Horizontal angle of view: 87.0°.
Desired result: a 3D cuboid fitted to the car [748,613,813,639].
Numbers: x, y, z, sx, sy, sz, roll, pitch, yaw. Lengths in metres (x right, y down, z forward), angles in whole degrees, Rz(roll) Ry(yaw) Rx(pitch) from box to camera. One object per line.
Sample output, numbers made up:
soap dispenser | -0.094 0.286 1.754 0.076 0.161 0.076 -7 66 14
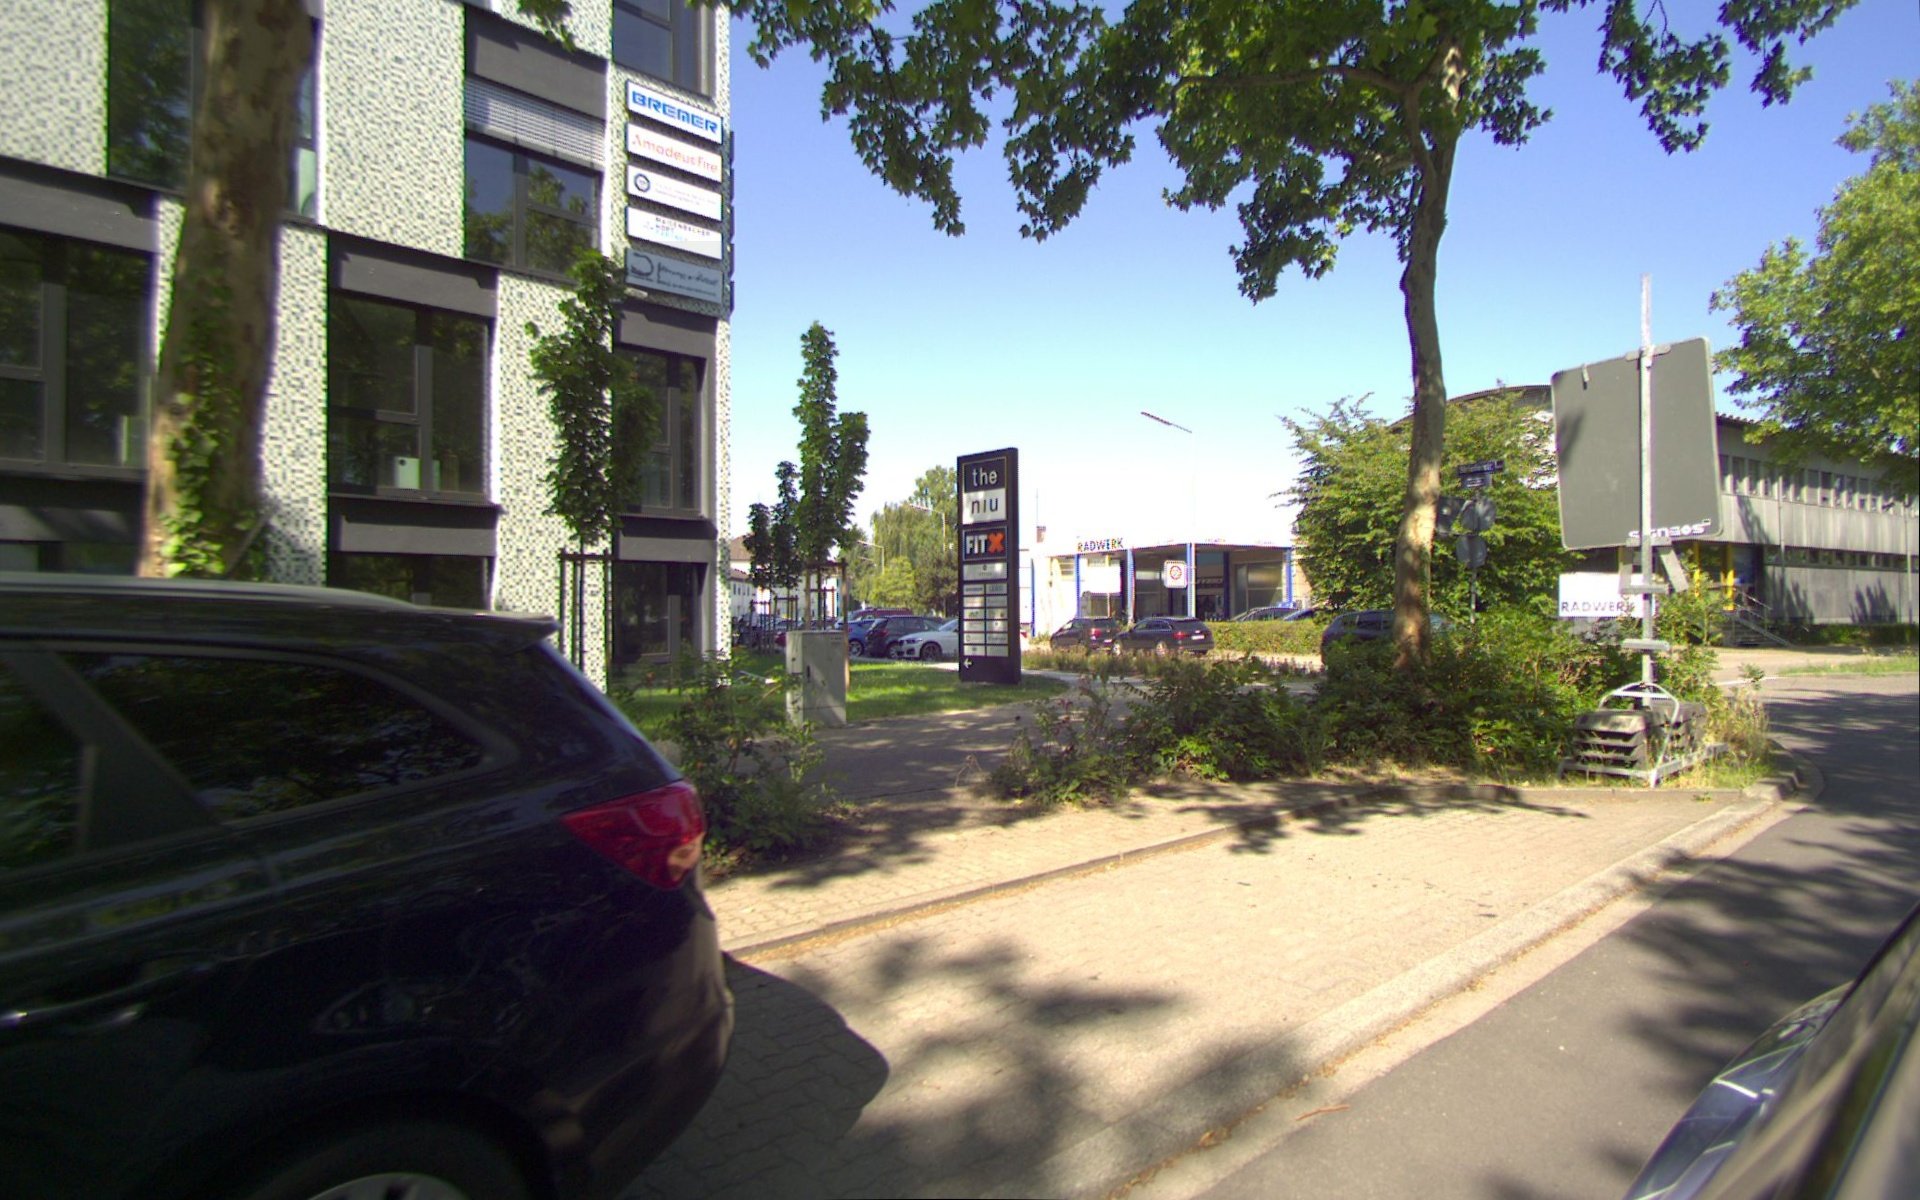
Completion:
car | -10.605 1.529 59.648 3.457 1.454 1.651 1 -1 -23

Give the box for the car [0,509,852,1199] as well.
car | -2.476 0.629 1.198 4.642 1.506 1.707 0 0 -45

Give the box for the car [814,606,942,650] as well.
car | -3.063 1.027 37.846 4.387 1.572 2.003 0 -2 -22

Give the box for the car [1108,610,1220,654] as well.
car | 7.103 1.103 35.624 1.832 1.416 4.062 -2 -1 -24

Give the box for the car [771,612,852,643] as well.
car | -6.998 1.312 47.753 3.457 1.395 1.651 1 -1 -23

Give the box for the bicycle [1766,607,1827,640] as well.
bicycle | 30.595 0.849 37.037 0.498 1.144 1.679 0 1 -22

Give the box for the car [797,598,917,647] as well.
car | -4.103 0.898 40.336 4.387 1.876 2.003 0 -2 -22

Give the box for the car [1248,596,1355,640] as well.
car | 13.688 0.726 40.721 3.678 1.683 1.680 -1 -1 1

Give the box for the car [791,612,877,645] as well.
car | -5.595 1.260 44.961 3.457 1.395 1.651 1 -1 -23

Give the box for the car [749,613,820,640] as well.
car | -9.462 1.427 54.513 3.457 1.395 1.651 1 -1 -23

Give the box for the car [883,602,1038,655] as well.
car | 0.011 0.890 31.457 4.387 1.572 2.003 1 -2 -22

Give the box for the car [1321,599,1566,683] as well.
car | 9.843 0.800 20.991 1.959 1.537 4.267 0 -1 -26

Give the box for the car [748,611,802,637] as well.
car | -15.501 1.984 84.696 4.307 1.986 1.860 3 -2 -10

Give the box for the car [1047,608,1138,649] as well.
car | 5.361 1.163 41.384 1.958 1.572 4.006 1 -2 -22

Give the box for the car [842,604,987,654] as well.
car | -1.522 0.958 33.544 4.387 1.572 2.003 1 -2 -22
